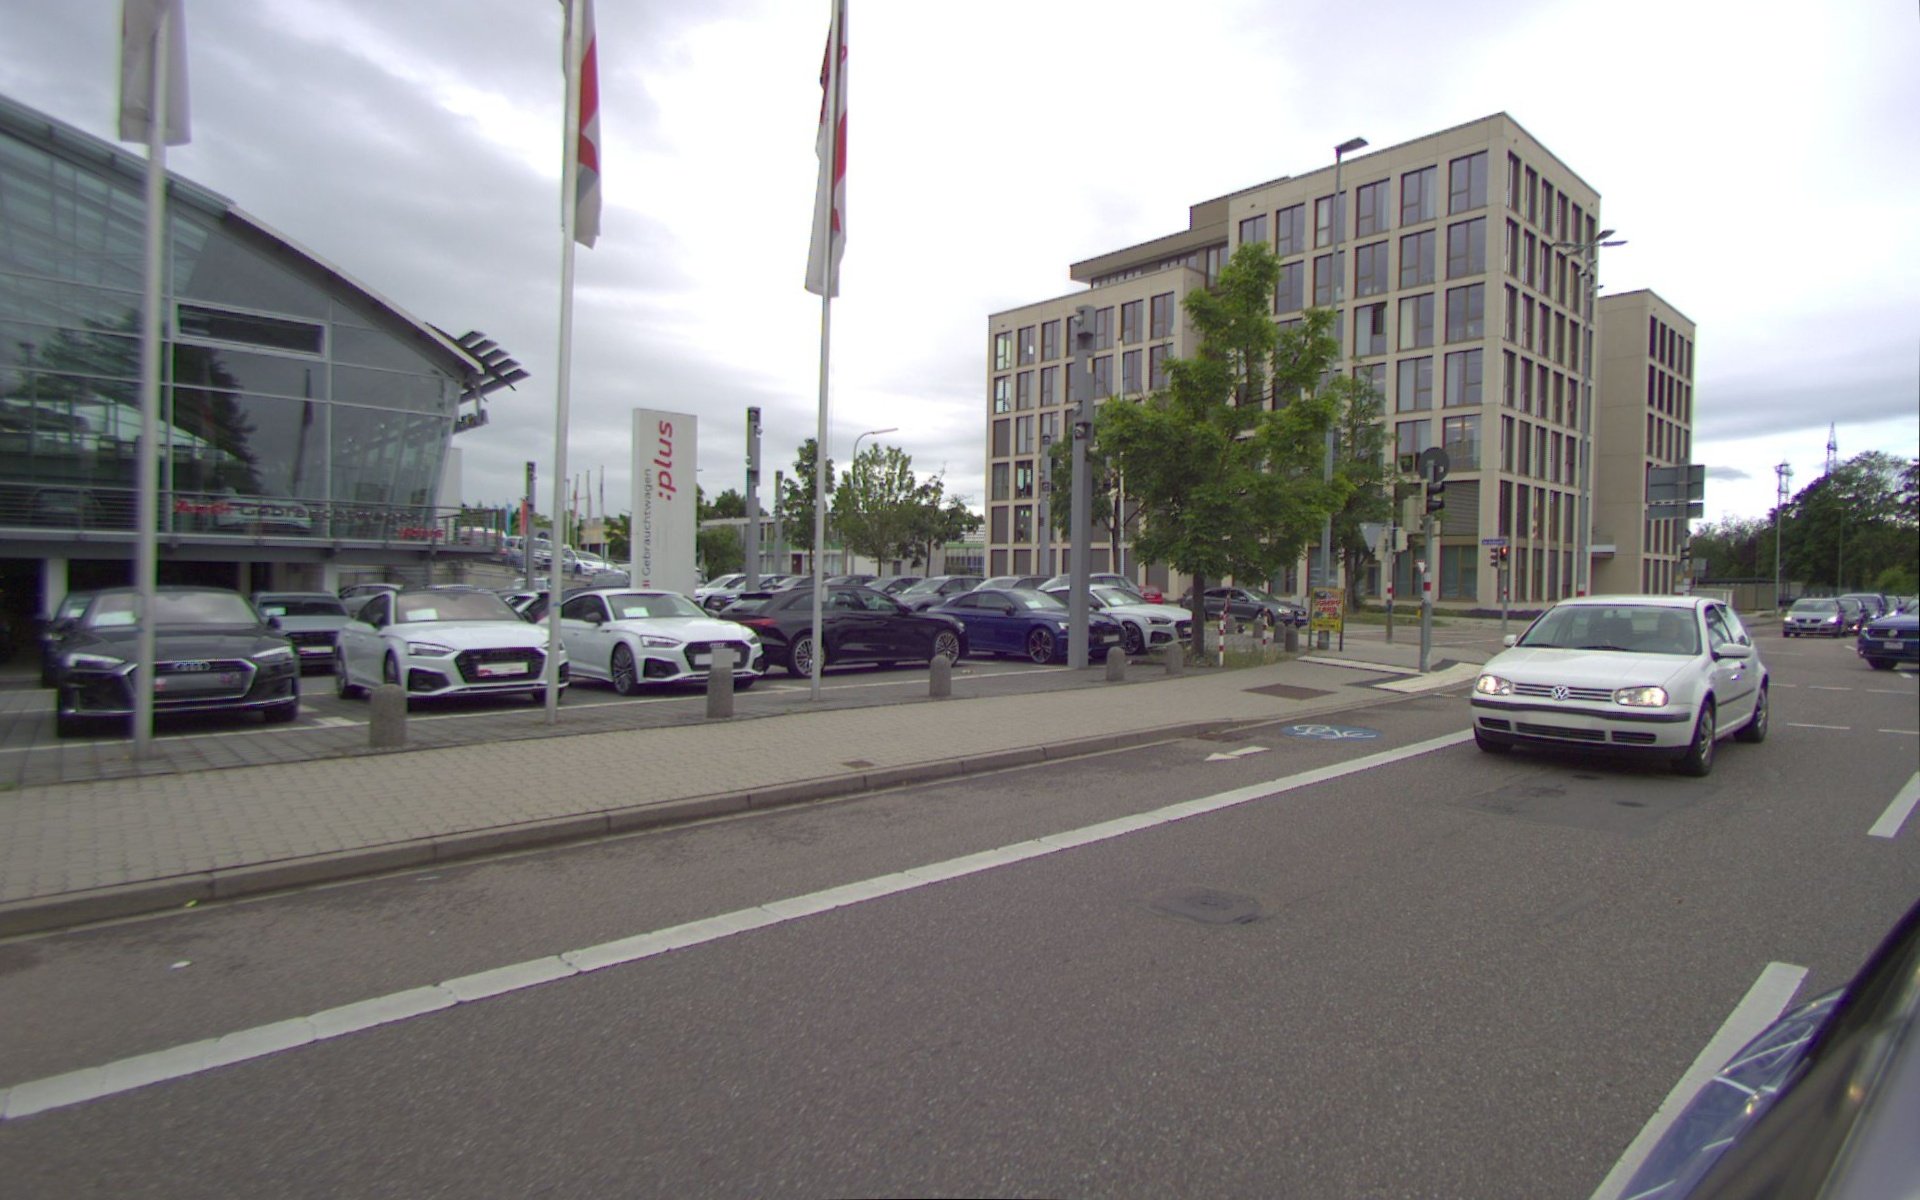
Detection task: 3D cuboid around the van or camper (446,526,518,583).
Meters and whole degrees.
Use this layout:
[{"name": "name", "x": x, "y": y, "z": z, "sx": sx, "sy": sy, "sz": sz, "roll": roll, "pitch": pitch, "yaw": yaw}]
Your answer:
[{"name": "van or camper", "x": -27.676, "y": -2.570, "z": 58.522, "sx": 2.500, "sy": 3.065, "sz": 4.835, "roll": 2, "pitch": -1, "yaw": -41}]

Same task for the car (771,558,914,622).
[{"name": "car", "x": -4.008, "y": -0.404, "z": 35.171, "sx": 4.711, "sy": 2.038, "sz": 1.995, "roll": -3, "pitch": 2, "yaw": -44}]

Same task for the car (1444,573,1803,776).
[{"name": "car", "x": 6.321, "y": 0.562, "z": 9.475, "sx": 3.935, "sy": 1.496, "sz": 1.836, "roll": 1, "pitch": 0, "yaw": -41}]

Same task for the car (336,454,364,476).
[{"name": "car", "x": -66.175, "y": -14.623, "z": 109.740, "sx": 1.966, "sy": 1.906, "sz": 3.992, "roll": 0, "pitch": 0, "yaw": -42}]

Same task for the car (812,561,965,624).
[{"name": "car", "x": -2.288, "y": -0.295, "z": 33.357, "sx": 4.883, "sy": 1.899, "sz": 2.048, "roll": -3, "pitch": 2, "yaw": -44}]

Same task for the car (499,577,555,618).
[{"name": "car", "x": -18.896, "y": -0.129, "z": 44.356, "sx": 1.882, "sy": 1.679, "sz": 4.455, "roll": -1, "pitch": 0, "yaw": -19}]

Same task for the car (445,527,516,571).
[{"name": "car", "x": -22.855, "y": -2.376, "z": 48.178, "sx": 1.965, "sy": 1.872, "sz": 3.993, "roll": 2, "pitch": -1, "yaw": -41}]

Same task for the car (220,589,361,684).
[{"name": "car", "x": -13.623, "y": 0.664, "z": 20.478, "sx": 1.779, "sy": 1.717, "sz": 4.311, "roll": 2, "pitch": -1, "yaw": -41}]

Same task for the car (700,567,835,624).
[{"name": "car", "x": -7.453, "y": -0.237, "z": 39.502, "sx": 4.827, "sy": 2.038, "sz": 1.996, "roll": -3, "pitch": 2, "yaw": -43}]

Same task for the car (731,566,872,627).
[{"name": "car", "x": -5.787, "y": -0.187, "z": 37.355, "sx": 4.827, "sy": 2.038, "sz": 1.996, "roll": -3, "pitch": 2, "yaw": -43}]

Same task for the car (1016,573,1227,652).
[{"name": "car", "x": 3.321, "y": 0.250, "z": 21.420, "sx": 1.842, "sy": 1.505, "sz": 4.222, "roll": -1, "pitch": 0, "yaw": -41}]

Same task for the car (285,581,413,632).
[{"name": "car", "x": -23.754, "y": 0.268, "z": 39.412, "sx": 3.933, "sy": 1.861, "sz": 1.755, "roll": 2, "pitch": -1, "yaw": -44}]

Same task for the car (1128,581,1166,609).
[{"name": "car", "x": 10.822, "y": -0.307, "z": 58.728, "sx": 1.856, "sy": 1.571, "sz": 4.125, "roll": 0, "pitch": 0, "yaw": 7}]

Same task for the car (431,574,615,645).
[{"name": "car", "x": -13.123, "y": 0.218, "z": 30.522, "sx": 4.733, "sy": 1.964, "sz": 1.997, "roll": 0, "pitch": 1, "yaw": -41}]

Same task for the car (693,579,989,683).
[{"name": "car", "x": -1.868, "y": 0.453, "z": 16.937, "sx": 4.673, "sy": 1.505, "sz": 1.889, "roll": -1, "pitch": -1, "yaw": -41}]

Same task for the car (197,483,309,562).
[{"name": "car", "x": -18.017, "y": -1.883, "z": 25.732, "sx": 1.794, "sy": 1.683, "sz": 3.992, "roll": 2, "pitch": -1, "yaw": -43}]

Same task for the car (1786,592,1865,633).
[{"name": "car", "x": 32.406, "y": 0.489, "z": 37.850, "sx": 4.027, "sy": 1.450, "sz": 1.748, "roll": 2, "pitch": -1, "yaw": -42}]

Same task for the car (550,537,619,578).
[{"name": "car", "x": -18.980, "y": -2.103, "z": 51.079, "sx": 1.965, "sy": 1.846, "sz": 3.993, "roll": 2, "pitch": -1, "yaw": -41}]

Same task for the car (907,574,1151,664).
[{"name": "car", "x": 1.216, "y": 0.358, "z": 19.513, "sx": 2.035, "sy": 1.505, "sz": 4.506, "roll": -2, "pitch": 0, "yaw": -43}]

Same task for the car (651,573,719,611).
[{"name": "car", "x": -12.934, "y": -0.385, "z": 47.867, "sx": 1.887, "sy": 1.679, "sz": 4.444, "roll": -1, "pitch": 0, "yaw": 1}]

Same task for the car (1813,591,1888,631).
[{"name": "car", "x": 36.198, "y": 0.458, "z": 41.114, "sx": 4.078, "sy": 1.509, "sz": 1.868, "roll": 2, "pitch": -1, "yaw": -42}]

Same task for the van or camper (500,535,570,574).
[{"name": "van or camper", "x": -20.812, "y": -2.193, "z": 49.480, "sx": 1.965, "sy": 1.672, "sz": 3.993, "roll": 2, "pitch": -1, "yaw": -42}]

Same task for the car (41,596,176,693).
[{"name": "car", "x": -15.711, "y": 0.741, "z": 18.667, "sx": 1.697, "sy": 1.562, "sz": 3.993, "roll": 2, "pitch": -1, "yaw": -41}]

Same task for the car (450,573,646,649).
[{"name": "car", "x": -11.538, "y": 0.241, "z": 28.532, "sx": 4.733, "sy": 1.964, "sz": 1.997, "roll": 0, "pitch": 1, "yaw": -41}]

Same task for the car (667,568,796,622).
[{"name": "car", "x": -9.347, "y": -0.259, "z": 41.612, "sx": 4.827, "sy": 2.038, "sz": 1.996, "roll": -3, "pitch": 2, "yaw": -43}]

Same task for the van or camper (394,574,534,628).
[{"name": "van or camper", "x": -16.932, "y": 0.066, "z": 34.628, "sx": 3.931, "sy": 1.733, "sz": 1.844, "roll": 2, "pitch": -1, "yaw": -42}]

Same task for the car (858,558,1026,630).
[{"name": "car", "x": -0.493, "y": -0.247, "z": 31.407, "sx": 4.955, "sy": 2.038, "sz": 2.261, "roll": -3, "pitch": 2, "yaw": -43}]

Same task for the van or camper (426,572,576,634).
[{"name": "van or camper", "x": -14.520, "y": 0.114, "z": 32.136, "sx": 3.931, "sy": 1.839, "sz": 1.844, "roll": 2, "pitch": -1, "yaw": -42}]

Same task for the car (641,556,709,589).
[{"name": "car", "x": -15.355, "y": -1.457, "z": 54.463, "sx": 1.965, "sy": 1.638, "sz": 3.993, "roll": 2, "pitch": -1, "yaw": -41}]

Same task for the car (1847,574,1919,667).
[{"name": "car", "x": 19.069, "y": 0.418, "z": 18.709, "sx": 4.241, "sy": 1.642, "sz": 1.851, "roll": 2, "pitch": -1, "yaw": -12}]

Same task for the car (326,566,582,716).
[{"name": "car", "x": -6.245, "y": 0.457, "z": 12.256, "sx": 1.844, "sy": 1.505, "sz": 4.037, "roll": 0, "pitch": -2, "yaw": -41}]

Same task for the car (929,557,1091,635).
[{"name": "car", "x": 1.507, "y": -0.171, "z": 29.177, "sx": 4.637, "sy": 2.038, "sz": 1.996, "roll": -3, "pitch": 2, "yaw": -43}]

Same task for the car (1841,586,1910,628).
[{"name": "car", "x": 42.486, "y": 0.338, "z": 46.931, "sx": 4.078, "sy": 1.791, "sz": 1.996, "roll": 2, "pitch": -1, "yaw": -42}]

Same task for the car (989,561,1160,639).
[{"name": "car", "x": 3.161, "y": -0.071, "z": 27.211, "sx": 4.708, "sy": 1.886, "sz": 1.996, "roll": -3, "pitch": 2, "yaw": -43}]

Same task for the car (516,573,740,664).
[{"name": "car", "x": -7.869, "y": 0.362, "z": 24.265, "sx": 4.733, "sy": 1.964, "sz": 1.997, "roll": 0, "pitch": 1, "yaw": -41}]

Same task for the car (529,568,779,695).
[{"name": "car", "x": -4.400, "y": 0.424, "z": 14.145, "sx": 1.820, "sy": 1.505, "sz": 4.191, "roll": 0, "pitch": -2, "yaw": -40}]

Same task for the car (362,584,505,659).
[{"name": "car", "x": -11.812, "y": 0.510, "z": 22.562, "sx": 1.894, "sy": 1.505, "sz": 4.255, "roll": 2, "pitch": -3, "yaw": -41}]

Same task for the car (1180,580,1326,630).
[{"name": "car", "x": 10.104, "y": 0.114, "z": 35.195, "sx": 1.948, "sy": 1.570, "sz": 4.612, "roll": 0, "pitch": 1, "yaw": -37}]

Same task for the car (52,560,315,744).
[{"name": "car", "x": -8.127, "y": 0.479, "z": 10.520, "sx": 1.839, "sy": 1.505, "sz": 4.224, "roll": 0, "pitch": -1, "yaw": -41}]

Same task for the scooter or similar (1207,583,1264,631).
[{"name": "scooter or similar", "x": 7.374, "y": 0.176, "z": 27.162, "sx": 0.547, "sy": 1.234, "sz": 1.563, "roll": 3, "pitch": 0, "yaw": -24}]
